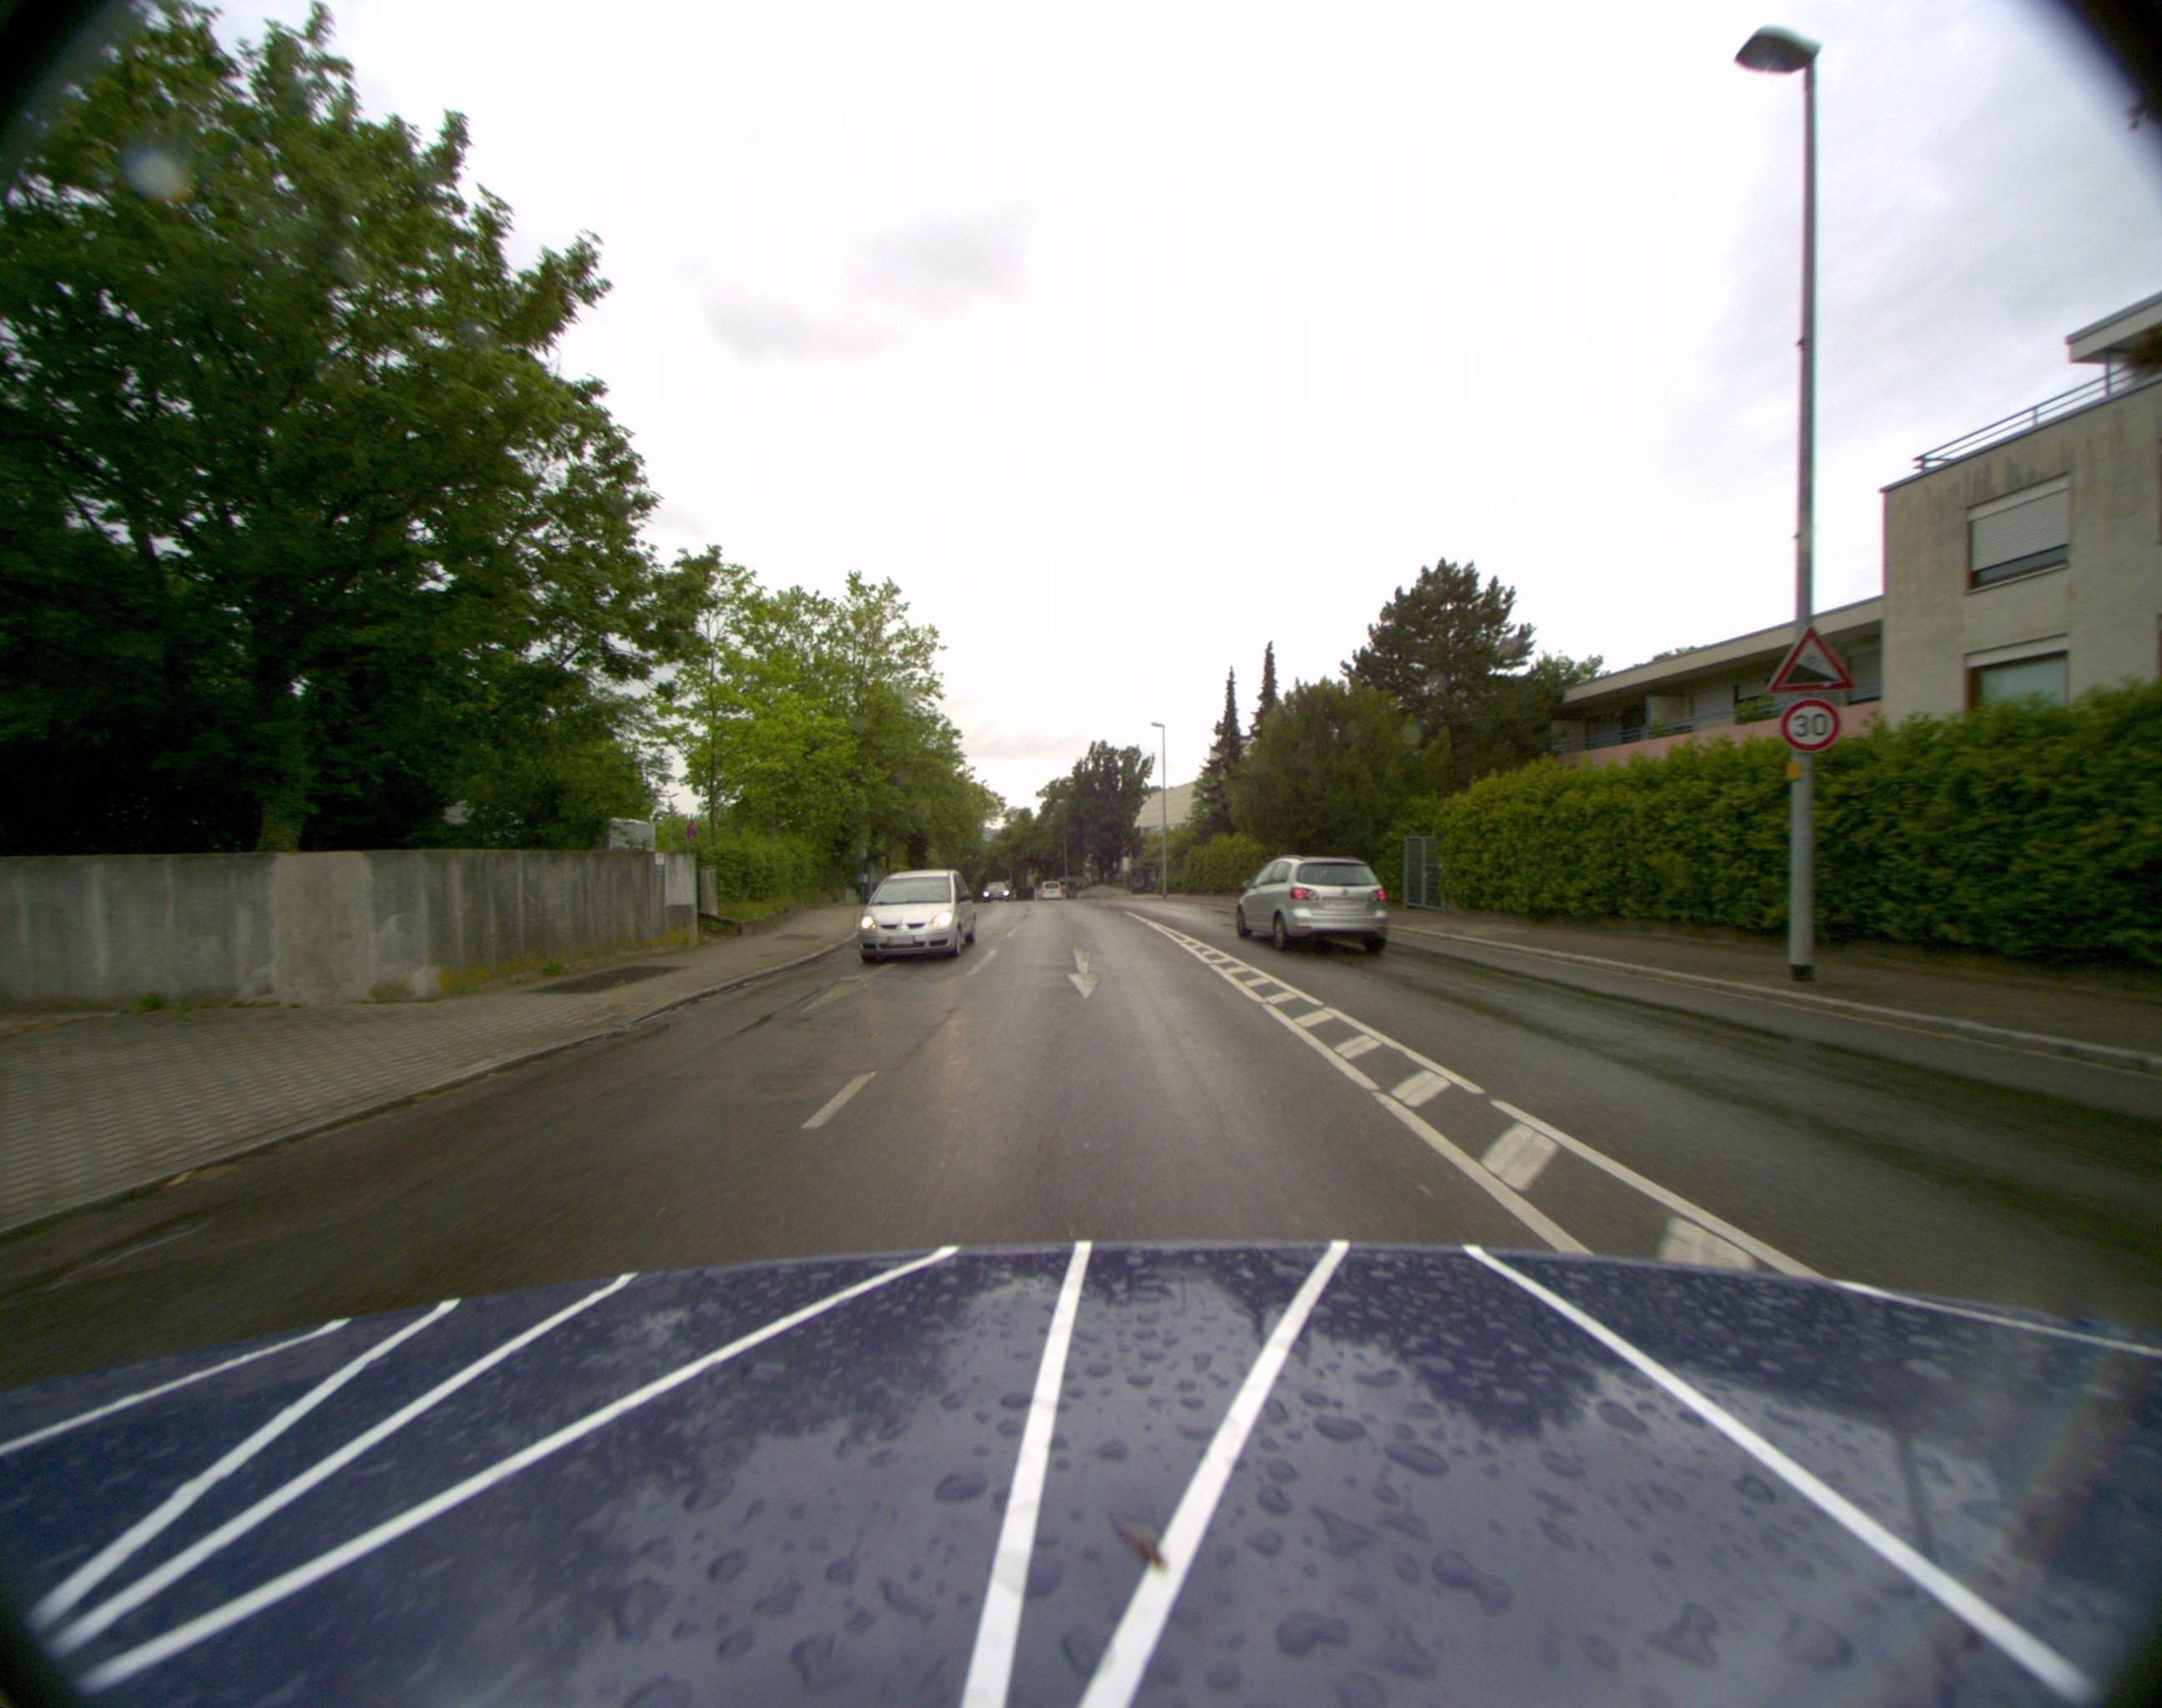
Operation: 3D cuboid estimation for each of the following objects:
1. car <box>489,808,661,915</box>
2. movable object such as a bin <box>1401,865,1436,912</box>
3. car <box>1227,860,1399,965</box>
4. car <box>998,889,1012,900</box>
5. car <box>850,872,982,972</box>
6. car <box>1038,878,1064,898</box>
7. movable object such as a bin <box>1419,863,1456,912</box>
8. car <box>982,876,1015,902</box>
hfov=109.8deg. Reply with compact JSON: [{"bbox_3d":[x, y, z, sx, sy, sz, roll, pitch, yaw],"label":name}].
[{"bbox_3d":[-11.829,0.276,18.137,2.000,2.212,4.132,-2,-4,-12],"label":"car"},{"bbox_3d":[9.737,0.998,21.943,0.549,1.318,0.806,-2,-1,-5],"label":"movable object such as a bin"},{"bbox_3d":[3.987,0.921,13.784,1.639,1.570,4.056,2,0,-3],"label":"car"},{"bbox_3d":[-11.047,5.865,110.365,1.691,1.444,3.397,-1,-3,-9],"label":"car"},{"bbox_3d":[-2.949,1.156,14.400,1.640,1.495,4.000,-4,-1,-2],"label":"car"},{"bbox_3d":[-3.025,3.400,75.873,1.870,1.904,5.026,1,-2,-11],"label":"car"},{"bbox_3d":[9.865,0.928,21.059,0.549,1.318,0.806,-2,-1,-5],"label":"movable object such as a bin"},{"bbox_3d":[-5.998,2.609,55.659,2.036,1.690,4.002,-4,-3,-2],"label":"car"}]
